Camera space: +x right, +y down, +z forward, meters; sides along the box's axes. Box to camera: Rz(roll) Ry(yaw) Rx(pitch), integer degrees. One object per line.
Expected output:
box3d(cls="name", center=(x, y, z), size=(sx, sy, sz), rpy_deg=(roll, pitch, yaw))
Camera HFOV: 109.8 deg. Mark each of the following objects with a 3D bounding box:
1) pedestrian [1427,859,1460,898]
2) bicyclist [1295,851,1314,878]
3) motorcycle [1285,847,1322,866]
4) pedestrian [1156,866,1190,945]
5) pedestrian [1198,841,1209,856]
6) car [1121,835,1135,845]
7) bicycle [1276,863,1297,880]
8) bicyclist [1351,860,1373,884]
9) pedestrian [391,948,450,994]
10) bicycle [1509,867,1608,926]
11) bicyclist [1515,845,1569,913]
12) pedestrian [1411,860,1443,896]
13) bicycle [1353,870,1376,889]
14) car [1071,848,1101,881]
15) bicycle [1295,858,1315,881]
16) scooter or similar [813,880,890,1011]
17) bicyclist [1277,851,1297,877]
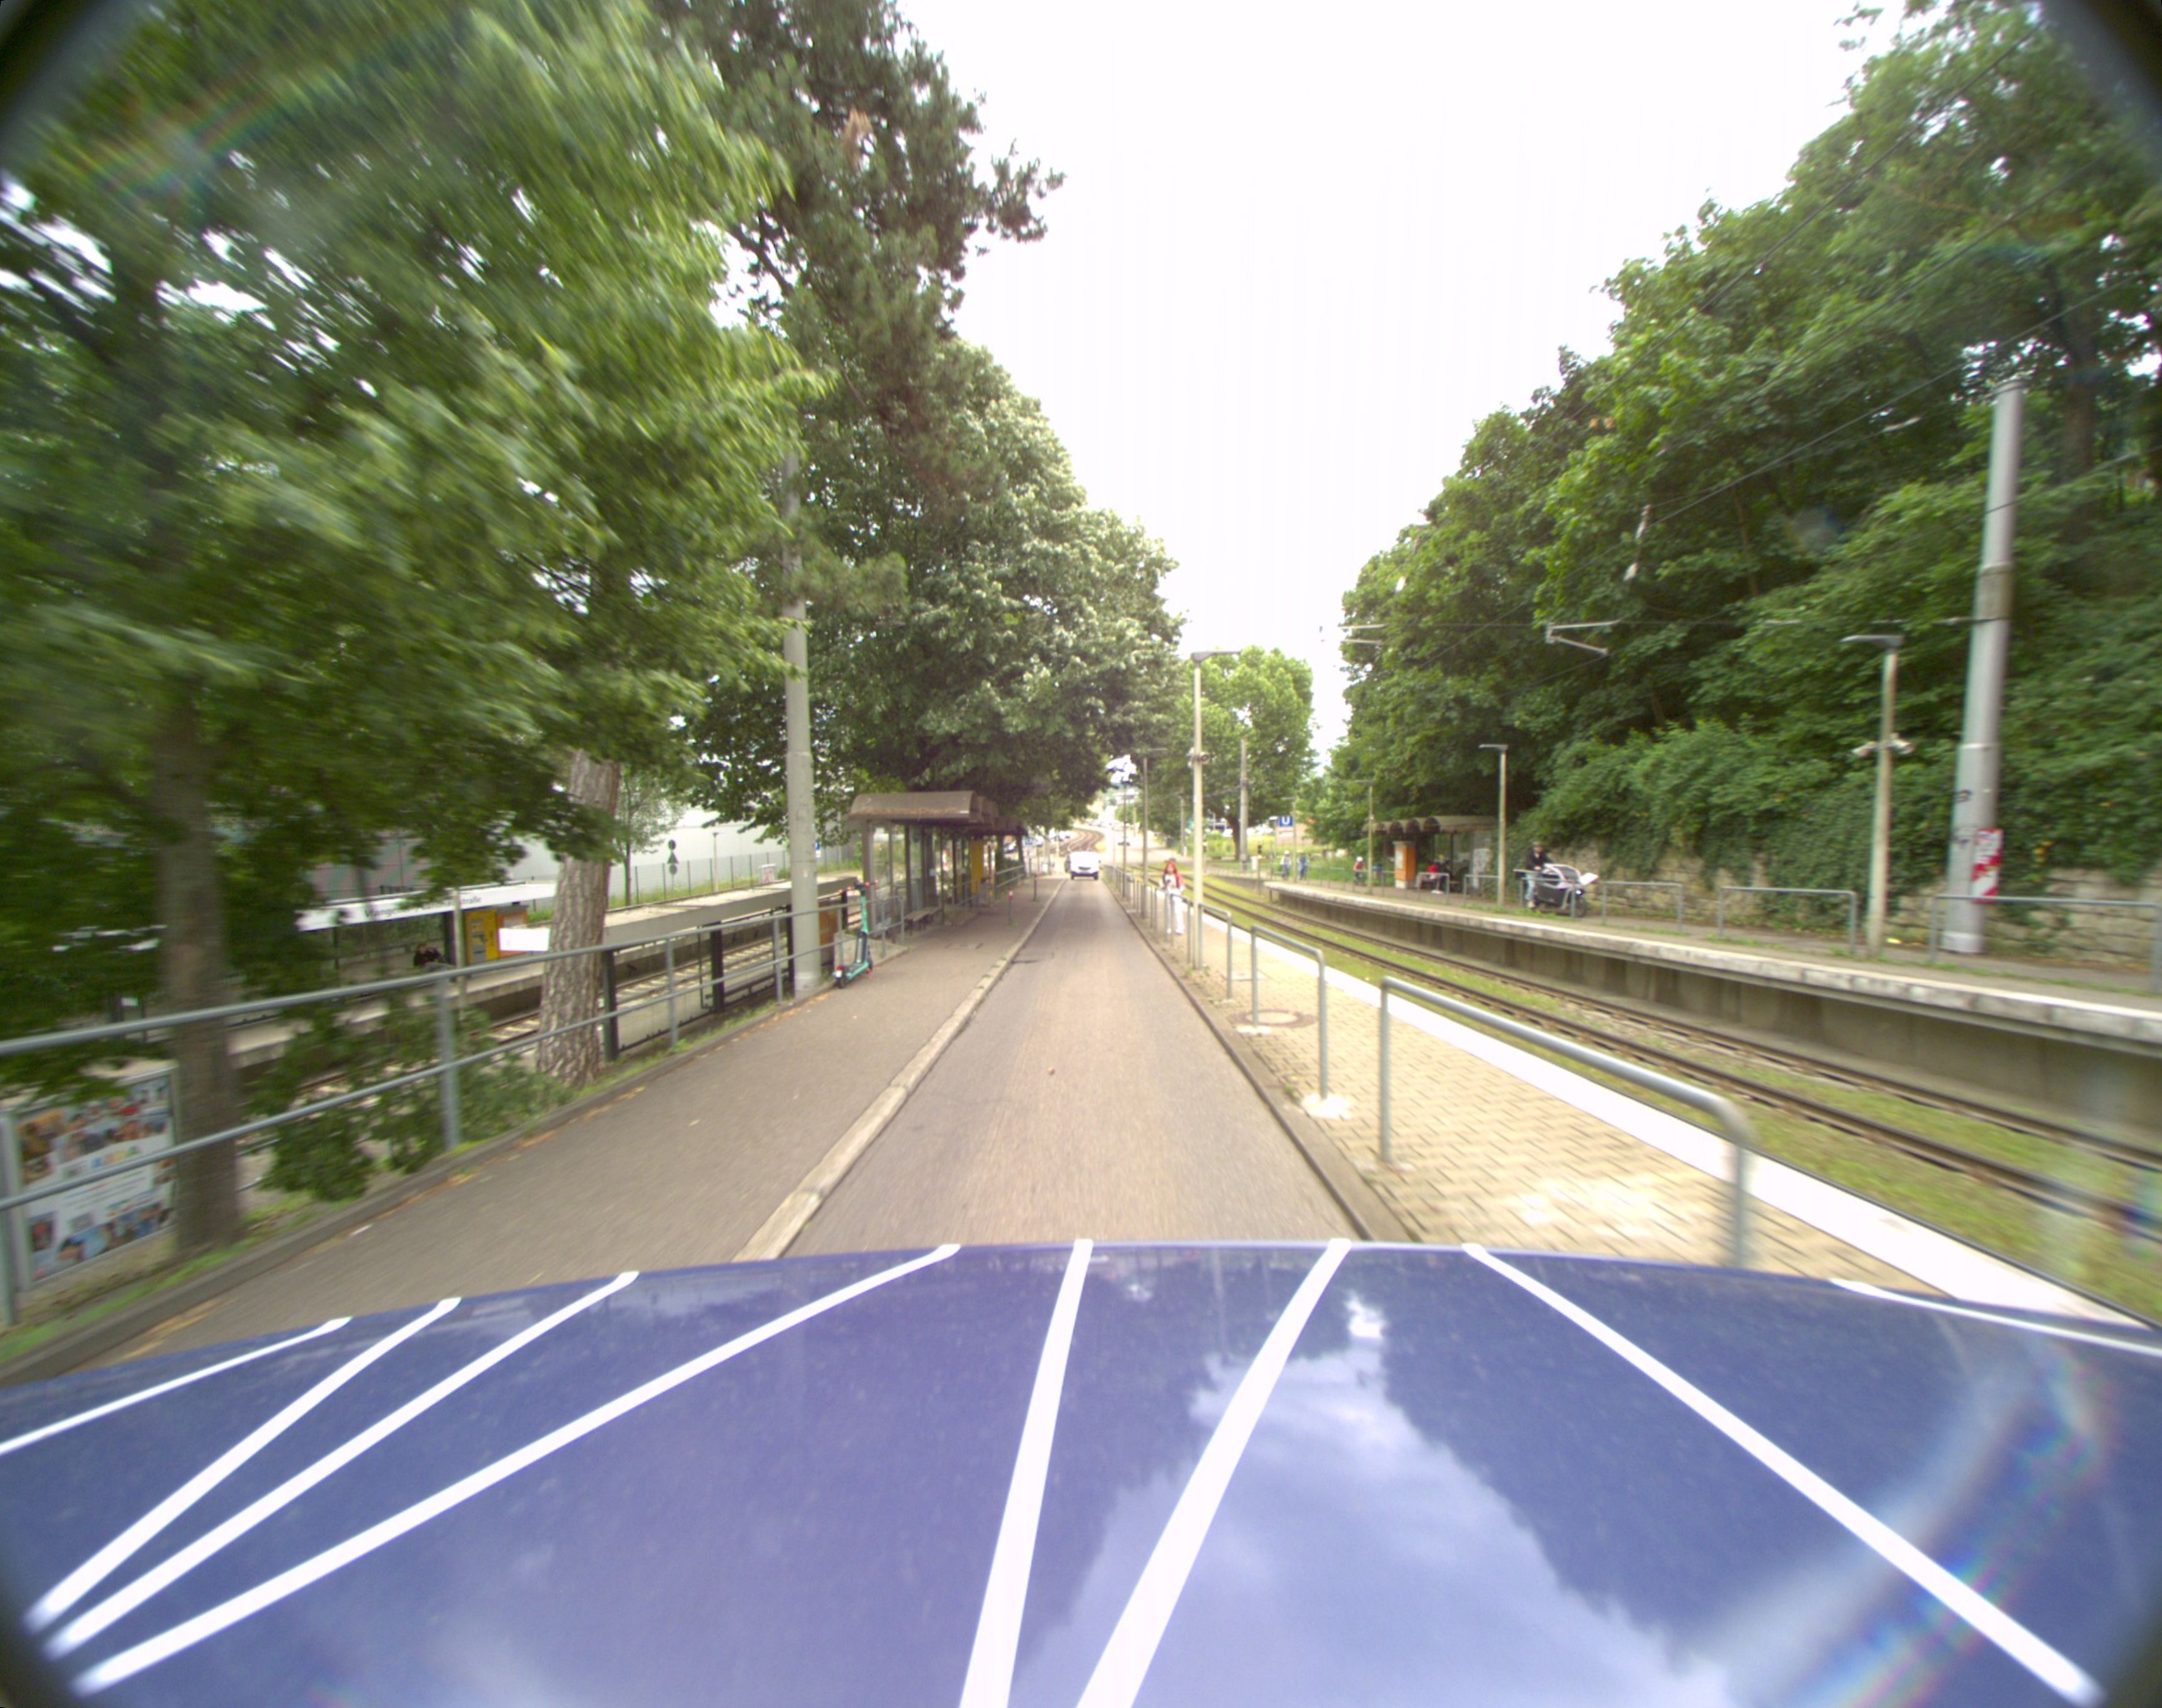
box3d(cls="pedestrian", center=(13.343, 0.879, 27.964), size=(0.823, 1.367, 0.774), rpy_deg=(-2, 2, -5))
box3d(cls="bicyclist", center=(12.050, 0.587, 41.014), size=(0.732, 1.434, 0.840), rpy_deg=(-1, 0, -1))
box3d(cls="motorcycle", center=(19.470, 0.177, 66.356), size=(3.063, 1.543, 1.257), rpy_deg=(-2, 2, -26))
box3d(cls="pedestrian", center=(1.817, 1.002, 15.041), size=(0.626, 1.493, 0.740), rpy_deg=(-2, 0, 6))
box3d(cls="pedestrian", center=(14.296, -0.696, 88.696), size=(1.115, 1.724, 0.695), rpy_deg=(0, 2, 37))
box3d(cls="car", center=(8.069, -2.431, 130.215), size=(1.997, 1.648, 4.001), rpy_deg=(-1, 2, 8))
box3d(cls="bicycle", center=(11.314, 0.980, 41.928), size=(0.479, 0.919, 1.844), rpy_deg=(-1, -1, -5))
box3d(cls="bicyclist", center=(12.503, 0.811, 33.783), size=(0.691, 1.047, 0.744), rpy_deg=(-1, 0, 0))
box3d(cls="pedestrian", center=(-18.841, 3.325, 21.691), size=(0.778, 1.160, 0.954), rpy_deg=(-1, 2, 7))
box3d(cls="bicycle", center=(11.446, 0.971, 18.364), size=(0.752, 1.233, 2.867), rpy_deg=(-2, 0, 4))
box3d(cls="bicyclist", center=(11.454, 0.603, 18.907), size=(0.706, 1.619, 1.033), rpy_deg=(-2, 0, 4))
box3d(cls="pedestrian", center=(13.258, 0.894, 29.144), size=(0.823, 1.315, 0.774), rpy_deg=(-2, 2, -5))
box3d(cls="bicycle", center=(12.582, 1.114, 33.786), size=(0.451, 0.776, 1.565), rpy_deg=(-1, 0, 1))
box3d(cls="car", center=(0.315, 0.651, 50.046), size=(1.810, 1.910, 4.477), rpy_deg=(-1, 2, 0))
box3d(cls="bicycle", center=(12.091, 0.824, 41.019), size=(0.464, 1.181, 1.940), rpy_deg=(-1, 0, 1))
box3d(cls="scooter or similar", center=(-2.739, 1.046, 9.198), size=(0.431, 1.377, 1.455), rpy_deg=(-1, 2, 0))
box3d(cls="bicyclist", center=(11.386, 0.570, 41.998), size=(0.747, 1.423, 0.907), rpy_deg=(-1, -1, -5))
